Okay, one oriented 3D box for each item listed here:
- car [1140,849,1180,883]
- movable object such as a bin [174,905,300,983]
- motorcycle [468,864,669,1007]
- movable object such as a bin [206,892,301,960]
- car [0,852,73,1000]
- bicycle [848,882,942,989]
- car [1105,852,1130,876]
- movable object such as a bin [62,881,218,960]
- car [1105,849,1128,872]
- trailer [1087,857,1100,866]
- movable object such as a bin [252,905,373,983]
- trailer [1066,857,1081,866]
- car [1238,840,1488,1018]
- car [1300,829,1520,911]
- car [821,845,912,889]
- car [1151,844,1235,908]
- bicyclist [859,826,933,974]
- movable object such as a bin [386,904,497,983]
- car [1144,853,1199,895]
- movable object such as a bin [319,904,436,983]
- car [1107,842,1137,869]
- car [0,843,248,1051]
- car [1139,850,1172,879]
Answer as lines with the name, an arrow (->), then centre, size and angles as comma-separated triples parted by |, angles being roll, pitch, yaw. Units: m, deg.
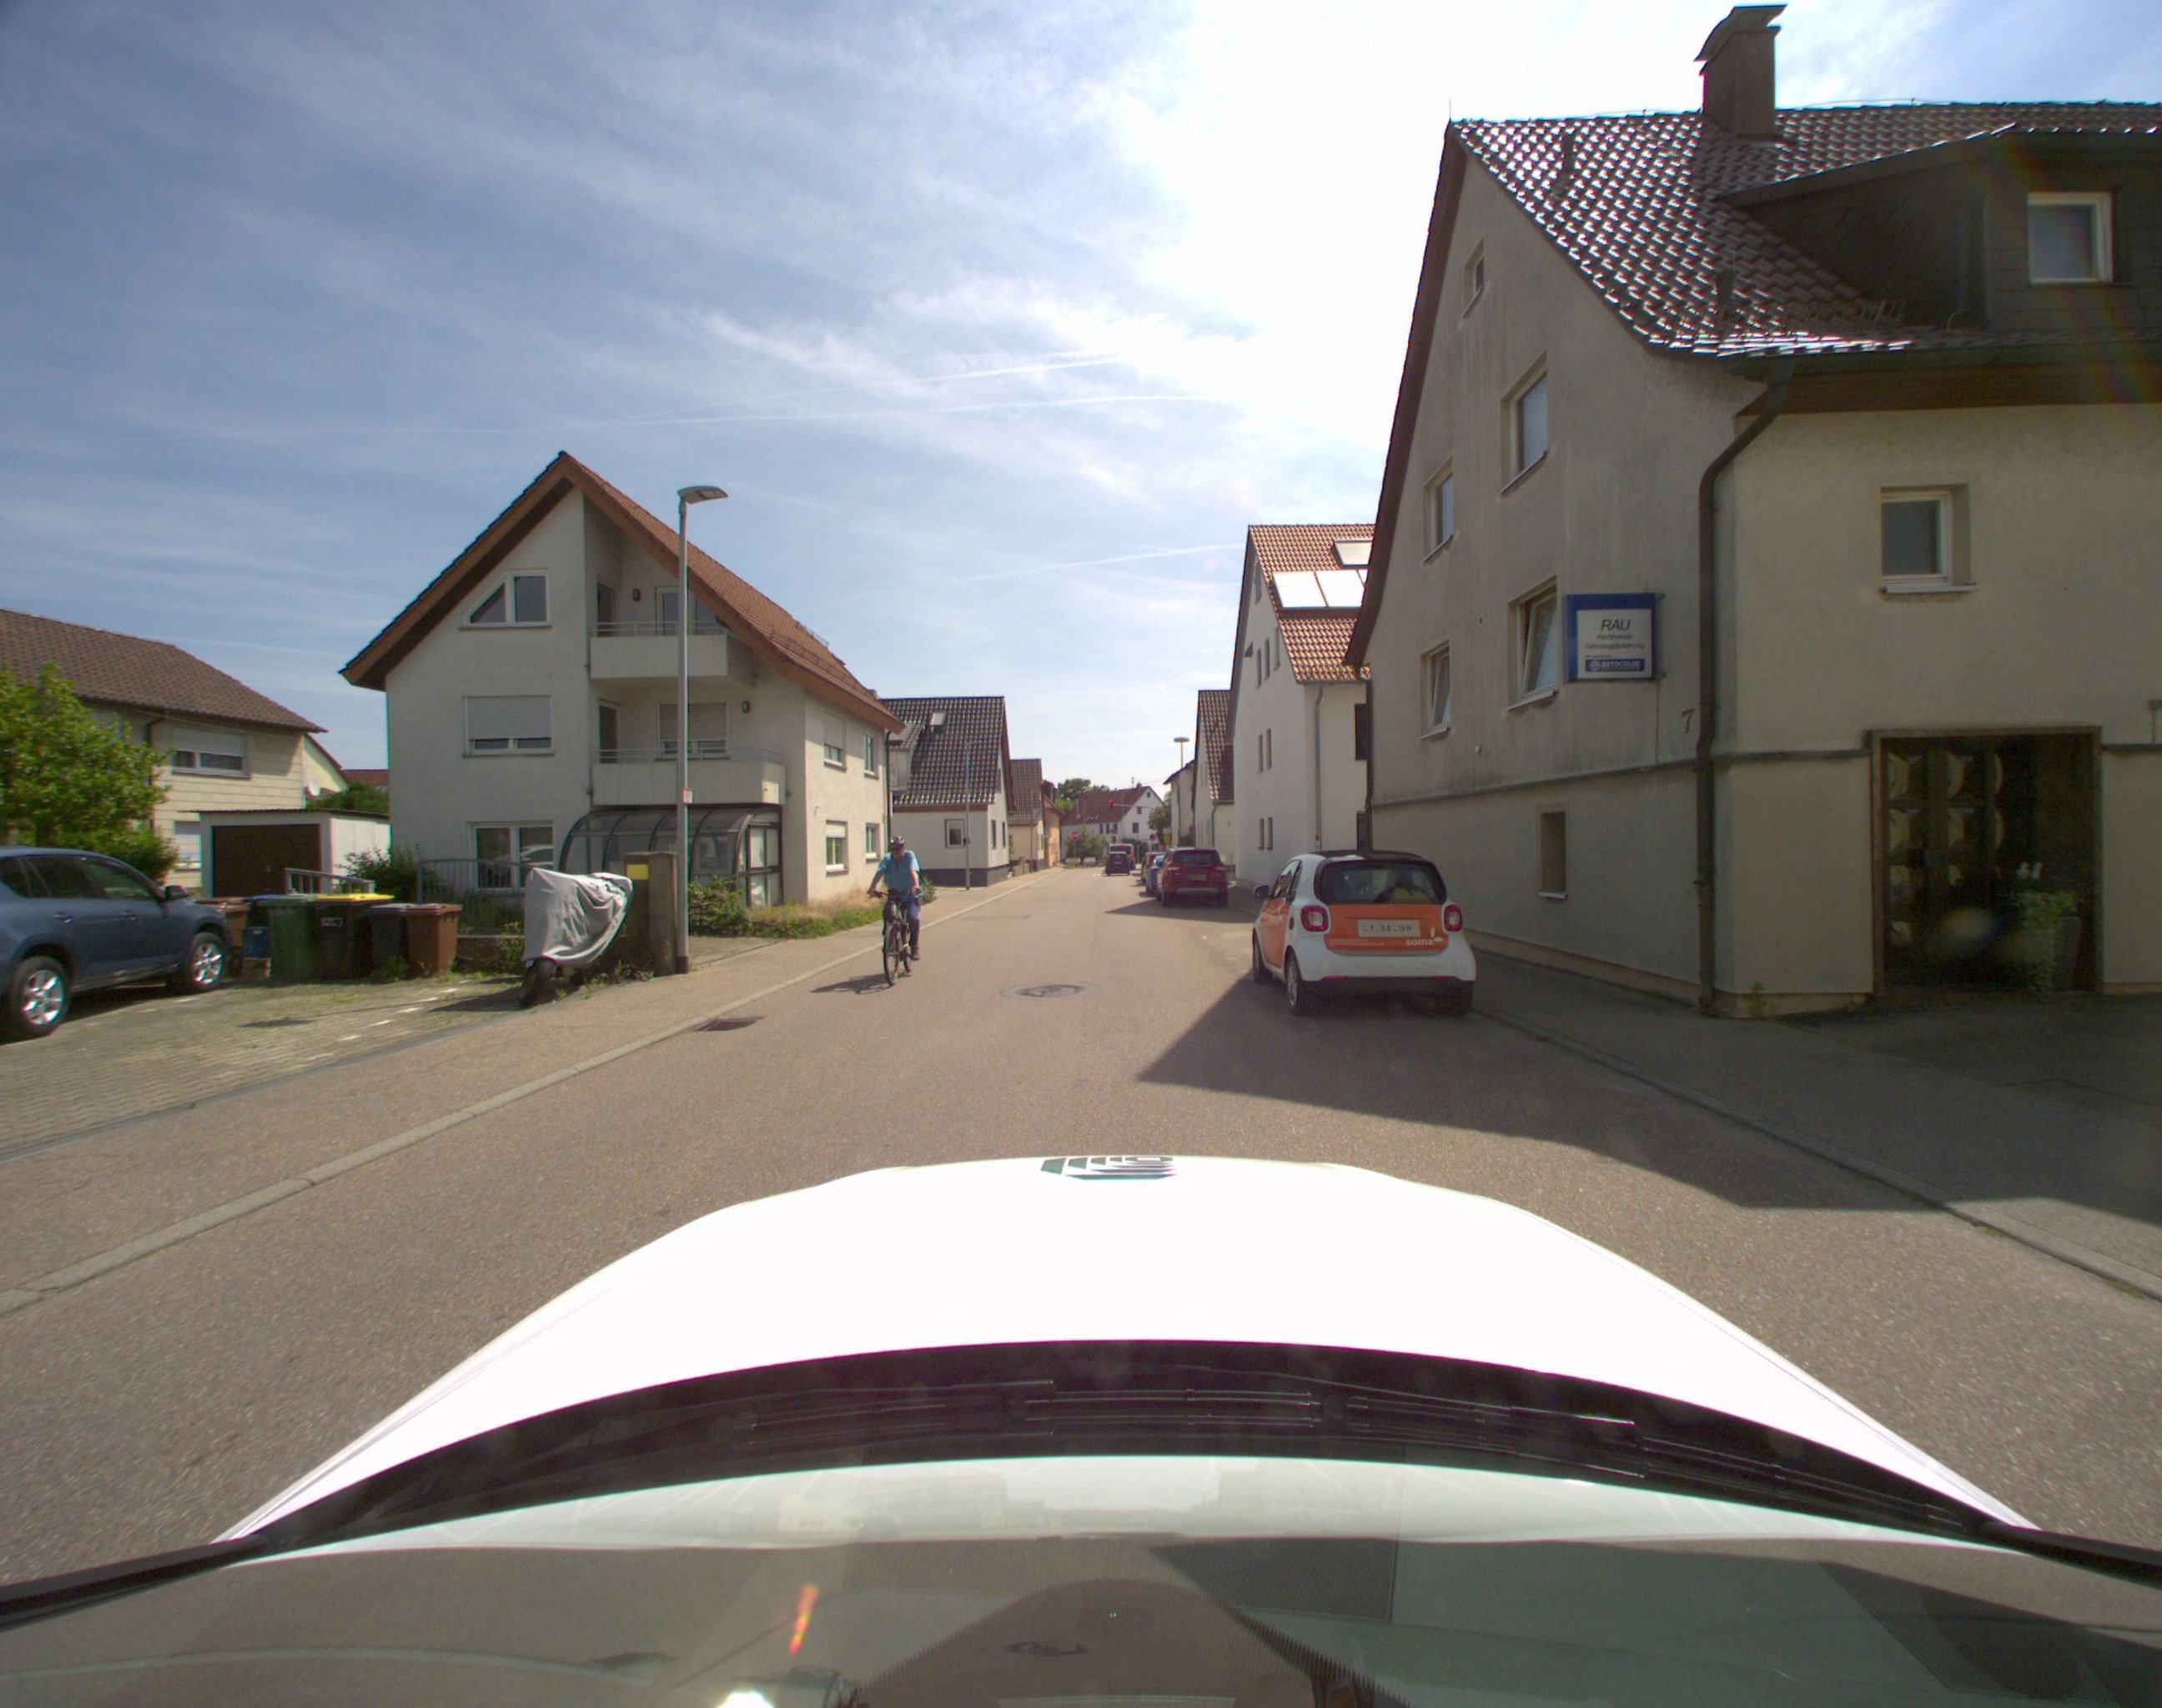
car -> 3.812, 0.561, 39.858 | 1.562, 1.545, 3.448 | 0, 0, -1
movable object such as a bin -> -10.826, 1.141, 10.478 | 0.798, 0.905, 0.773 | -1, 0, -2
motorcycle -> -5.763, 0.833, 9.386 | 0.781, 1.393, 2.353 | -1, 0, 1
movable object such as a bin -> -11.491, 0.997, 11.324 | 0.810, 0.898, 0.478 | 0, 0, -1
car -> -12.713, 0.824, 7.814 | 1.731, 1.678, 4.086 | -1, 0, -16
bicycle -> -2.308, 0.965, 10.375 | 0.668, 1.132, 2.189 | 0, 0, 1
car -> 2.478, 0.627, 54.842 | 1.508, 1.567, 3.188 | 0, 0, 5
movable object such as a bin -> -13.249, 0.921, 11.504 | 1.181, 1.041, 0.859 | 0, 0, -1
car -> 2.636, 0.463, 59.925 | 1.508, 1.624, 3.189 | -1, 0, 5
trailer -> 1.272, 0.767, 84.694 | 1.305, 0.970, 0.934 | 0, 0, 3
movable object such as a bin -> -9.806, 1.133, 10.420 | 0.797, 0.905, 0.773 | -1, 0, 0
trailer -> -0.773, 0.776, 84.898 | 1.495, 0.927, 1.013 | 1, 0, 3
car -> 2.790, 0.663, 8.729 | 1.668, 1.559, 3.041 | 0, 0, 1
car -> 7.818, 0.349, 19.655 | 4.503, 1.843, 1.999 | 0, 0, -2
car -> -8.507, 0.497, 32.491 | 3.100, 1.577, 1.714 | 3, 0, 0
car -> 3.185, 0.580, 23.975 | 1.870, 1.700, 4.182 | 0, 0, 0
bicyclist -> -2.349, 0.563, 10.422 | 0.711, 1.799, 0.942 | 0, 0, 0
movable object such as a bin -> -8.182, 1.131, 10.450 | 0.797, 0.905, 0.773 | -1, 0, 0
car -> 3.261, 0.681, 30.048 | 1.756, 1.424, 4.595 | 0, 0, 3
movable object such as a bin -> -8.990, 1.128, 10.440 | 0.797, 0.905, 0.773 | -1, 0, 0
car -> 3.538, 0.137, 69.172 | 2.117, 2.158, 4.746 | -1, 0, 8
car -> -10.247, 0.774, 7.816 | 1.776, 1.678, 3.908 | -1, 0, -24
car -> 3.983, 0.541, 44.066 | 1.493, 1.513, 3.362 | 0, 0, 0
